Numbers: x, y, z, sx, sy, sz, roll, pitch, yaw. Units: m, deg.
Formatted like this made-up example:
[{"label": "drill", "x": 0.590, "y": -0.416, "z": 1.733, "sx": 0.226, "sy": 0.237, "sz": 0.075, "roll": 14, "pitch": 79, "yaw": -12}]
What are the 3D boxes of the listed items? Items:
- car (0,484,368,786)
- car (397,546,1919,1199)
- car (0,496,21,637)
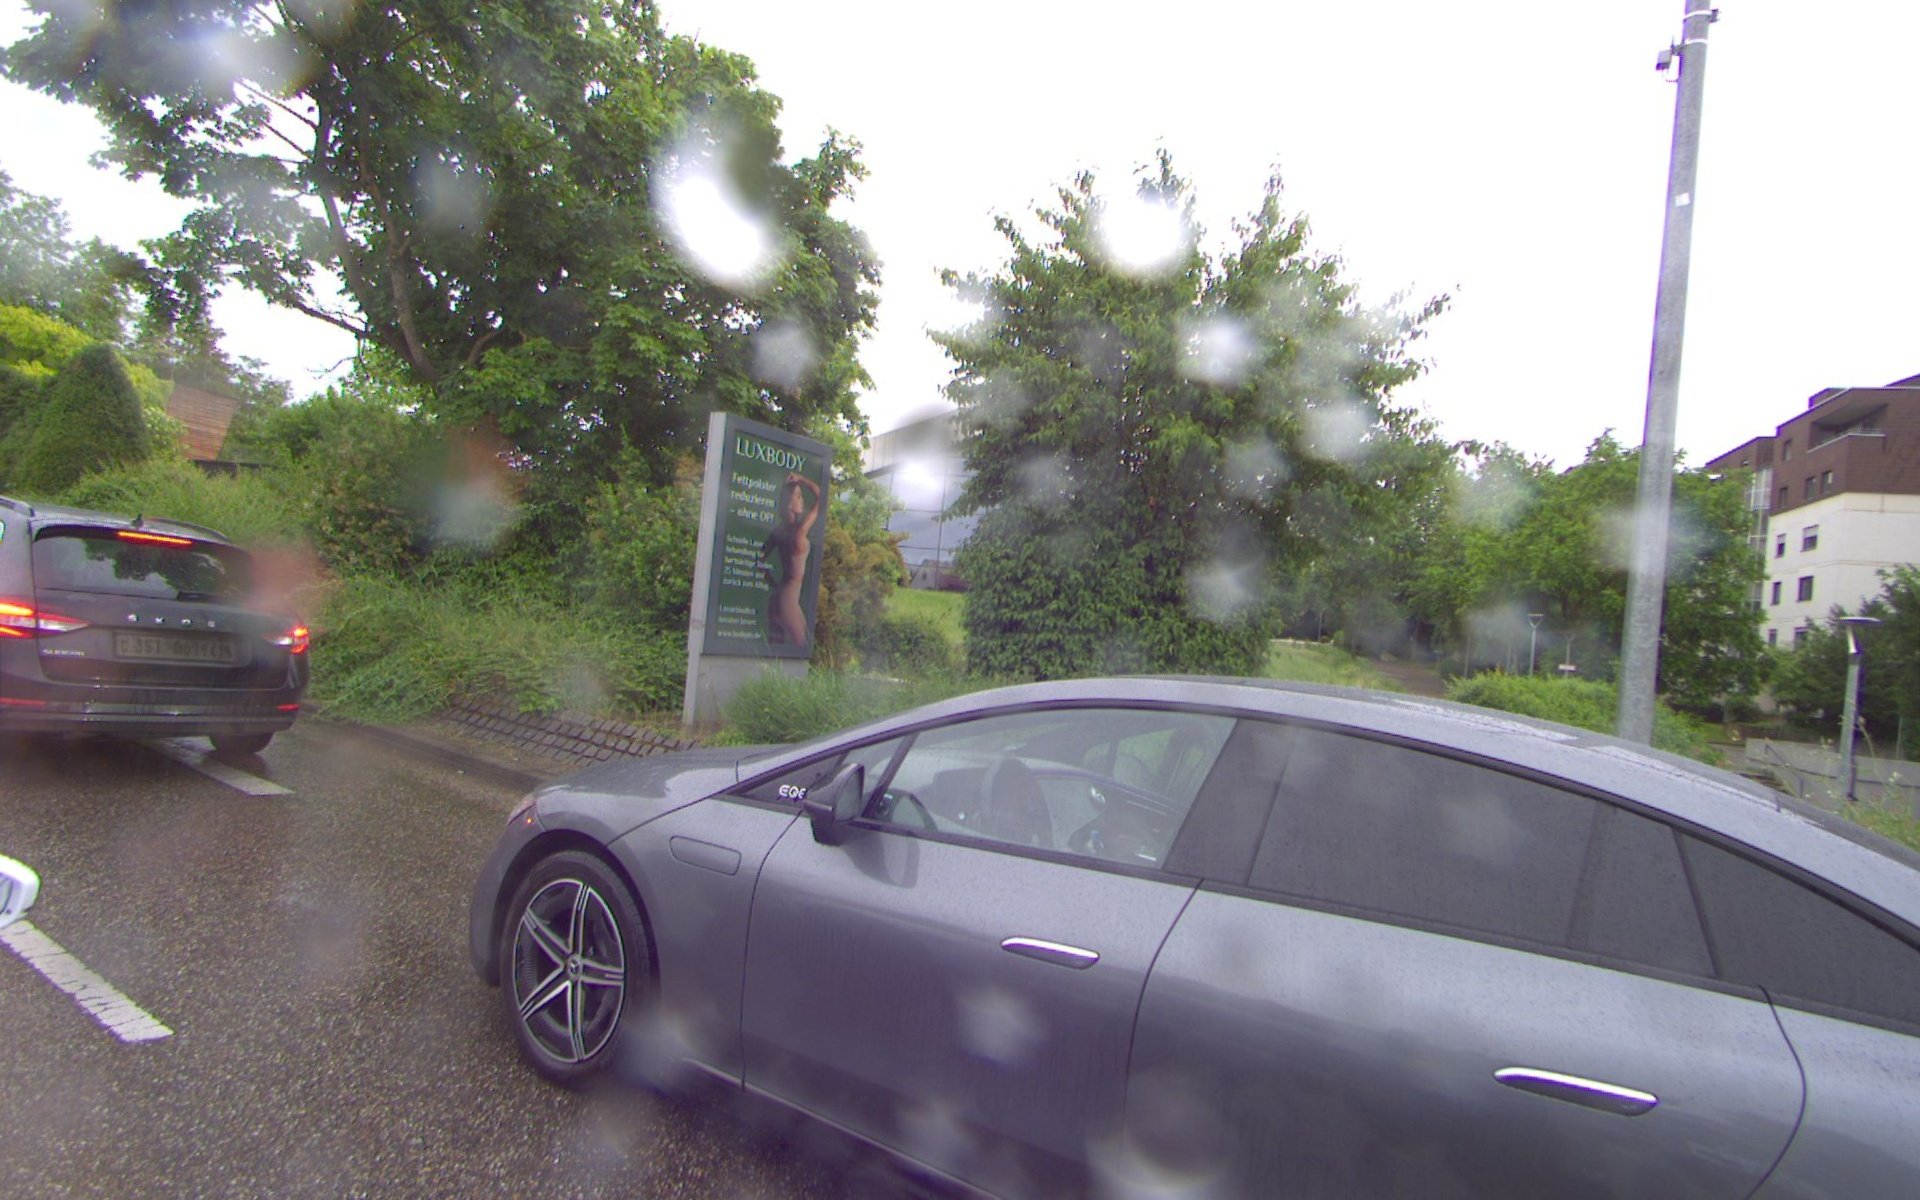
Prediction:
[{"label": "car", "x": -6.104, "y": 0.045, "z": 6.748, "sx": 4.279, "sy": 1.483, "sz": 1.841, "roll": 7, "pitch": -2, "yaw": 33}, {"label": "car", "x": 0.687, "y": 0.905, "z": 2.928, "sx": 4.728, "sy": 1.483, "sz": 1.842, "roll": 7, "pitch": -2, "yaw": 31}, {"label": "car", "x": -12.184, "y": -0.645, "z": 10.861, "sx": 4.048, "sy": 1.483, "sz": 1.842, "roll": 7, "pitch": -2, "yaw": 31}]
